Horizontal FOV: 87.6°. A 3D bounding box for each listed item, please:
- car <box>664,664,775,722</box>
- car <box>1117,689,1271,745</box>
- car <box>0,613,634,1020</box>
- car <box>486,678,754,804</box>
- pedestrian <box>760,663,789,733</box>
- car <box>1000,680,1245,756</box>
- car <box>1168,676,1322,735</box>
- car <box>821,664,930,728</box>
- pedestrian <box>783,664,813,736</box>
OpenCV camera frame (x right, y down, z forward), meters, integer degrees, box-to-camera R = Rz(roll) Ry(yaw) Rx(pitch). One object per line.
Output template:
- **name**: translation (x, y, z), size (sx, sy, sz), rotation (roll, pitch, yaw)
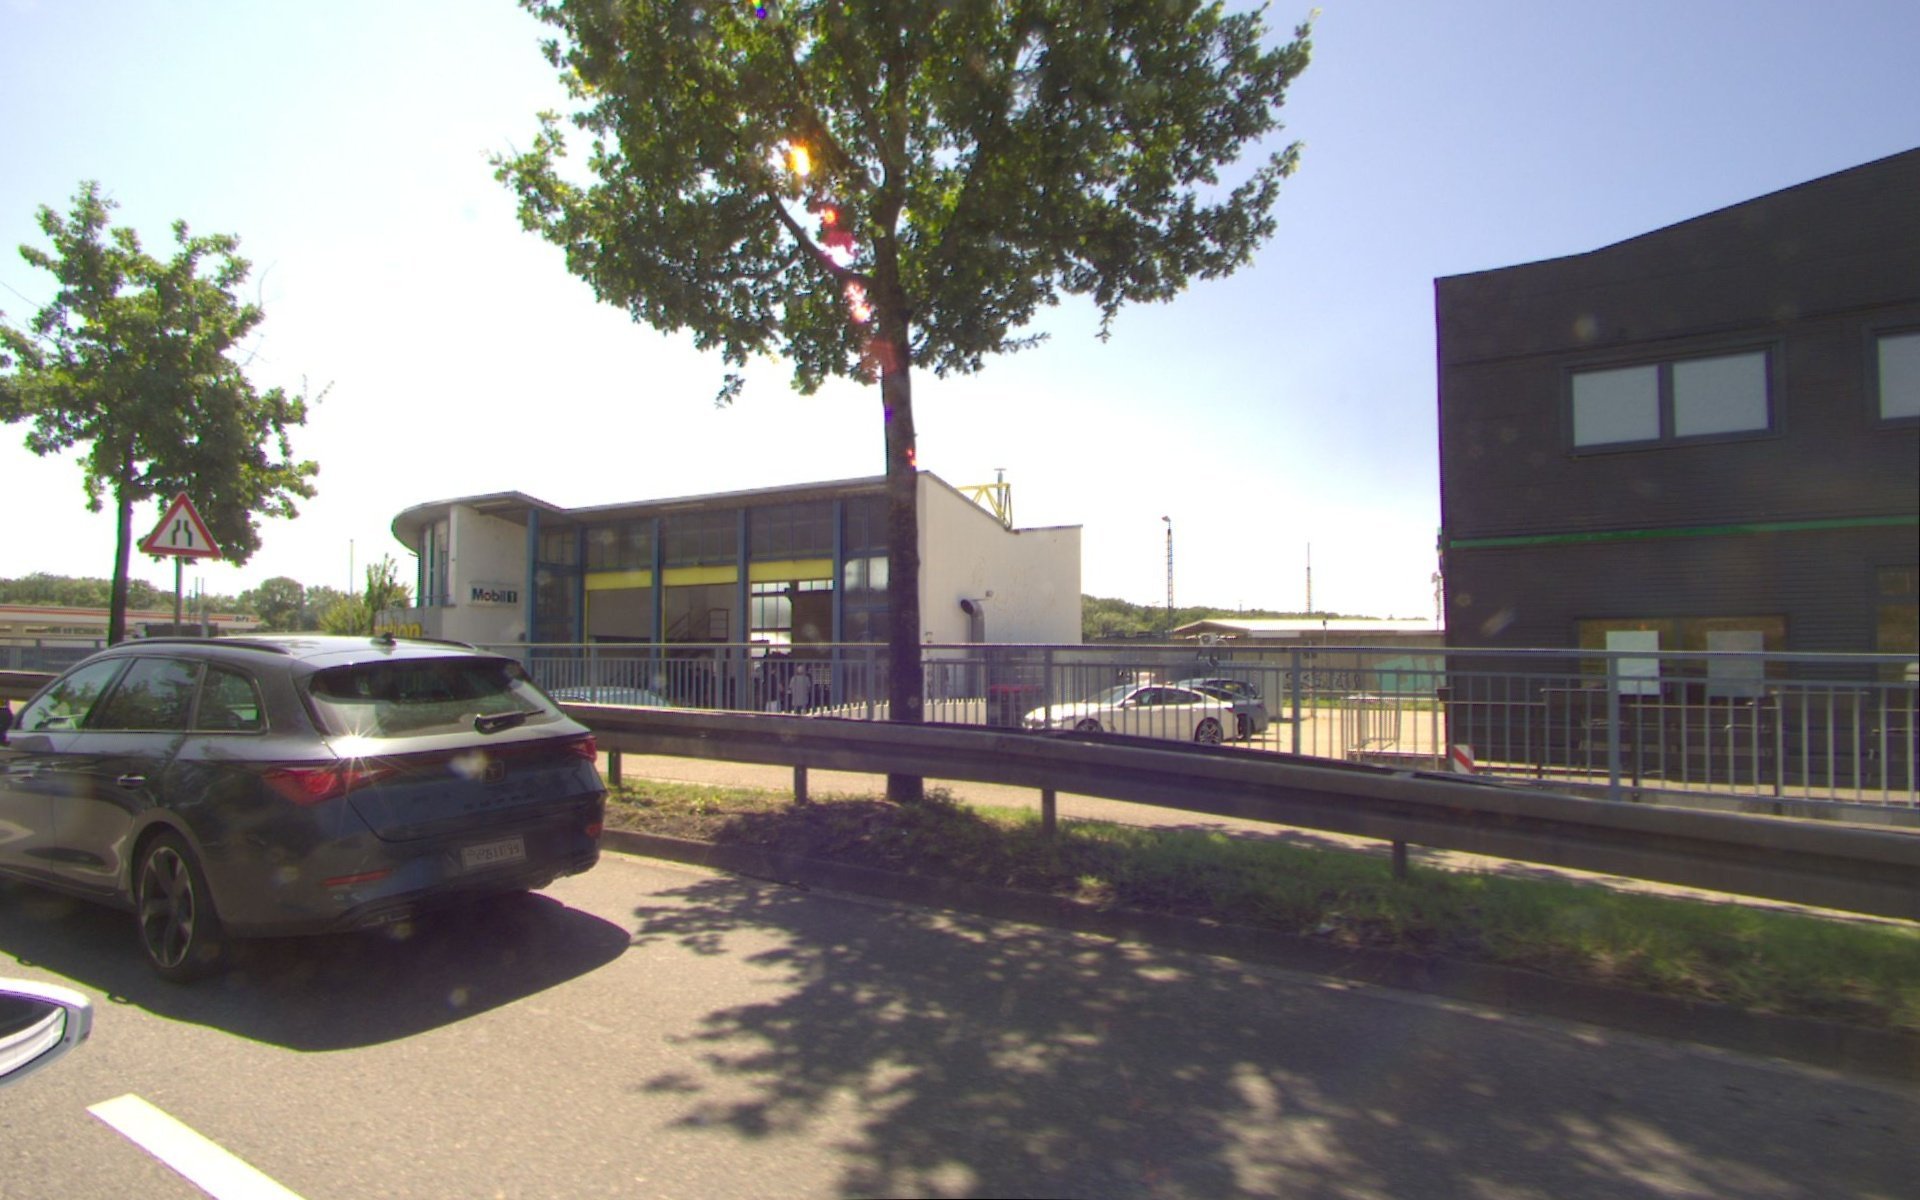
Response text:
- **car**: translation (-7.728, 2.958, 32.518), size (1.623, 1.705, 3.671), rotation (-1, -3, 24)
- **car**: translation (5.932, 2.947, 25.519), size (3.548, 1.268, 1.479), rotation (1, -2, -14)
- **car**: translation (-3.839, 0.870, 5.407), size (4.173, 1.474, 1.603), rotation (-2, -3, 30)
- **car**: translation (-5.062, 1.984, 14.817), size (3.842, 1.551, 1.631), rotation (-2, -3, 30)
- **pedestrian**: translation (-4.623, 2.428, 24.969), size (0.481, 1.724, 0.521), rotation (-1, -2, 29)
- **car**: translation (3.537, 2.494, 21.794), size (5.000, 1.374, 1.995), rotation (1, -3, -22)
- **car**: translation (8.513, 3.106, 29.907), size (4.327, 1.578, 1.652), rotation (1, -3, -22)
- **car**: translation (-2.426, 2.771, 29.583), size (1.623, 1.705, 3.670), rotation (-1, -3, 24)
- **pedestrian**: translation (-3.999, 2.455, 24.722), size (0.580, 1.724, 0.426), rotation (-1, -2, 28)
